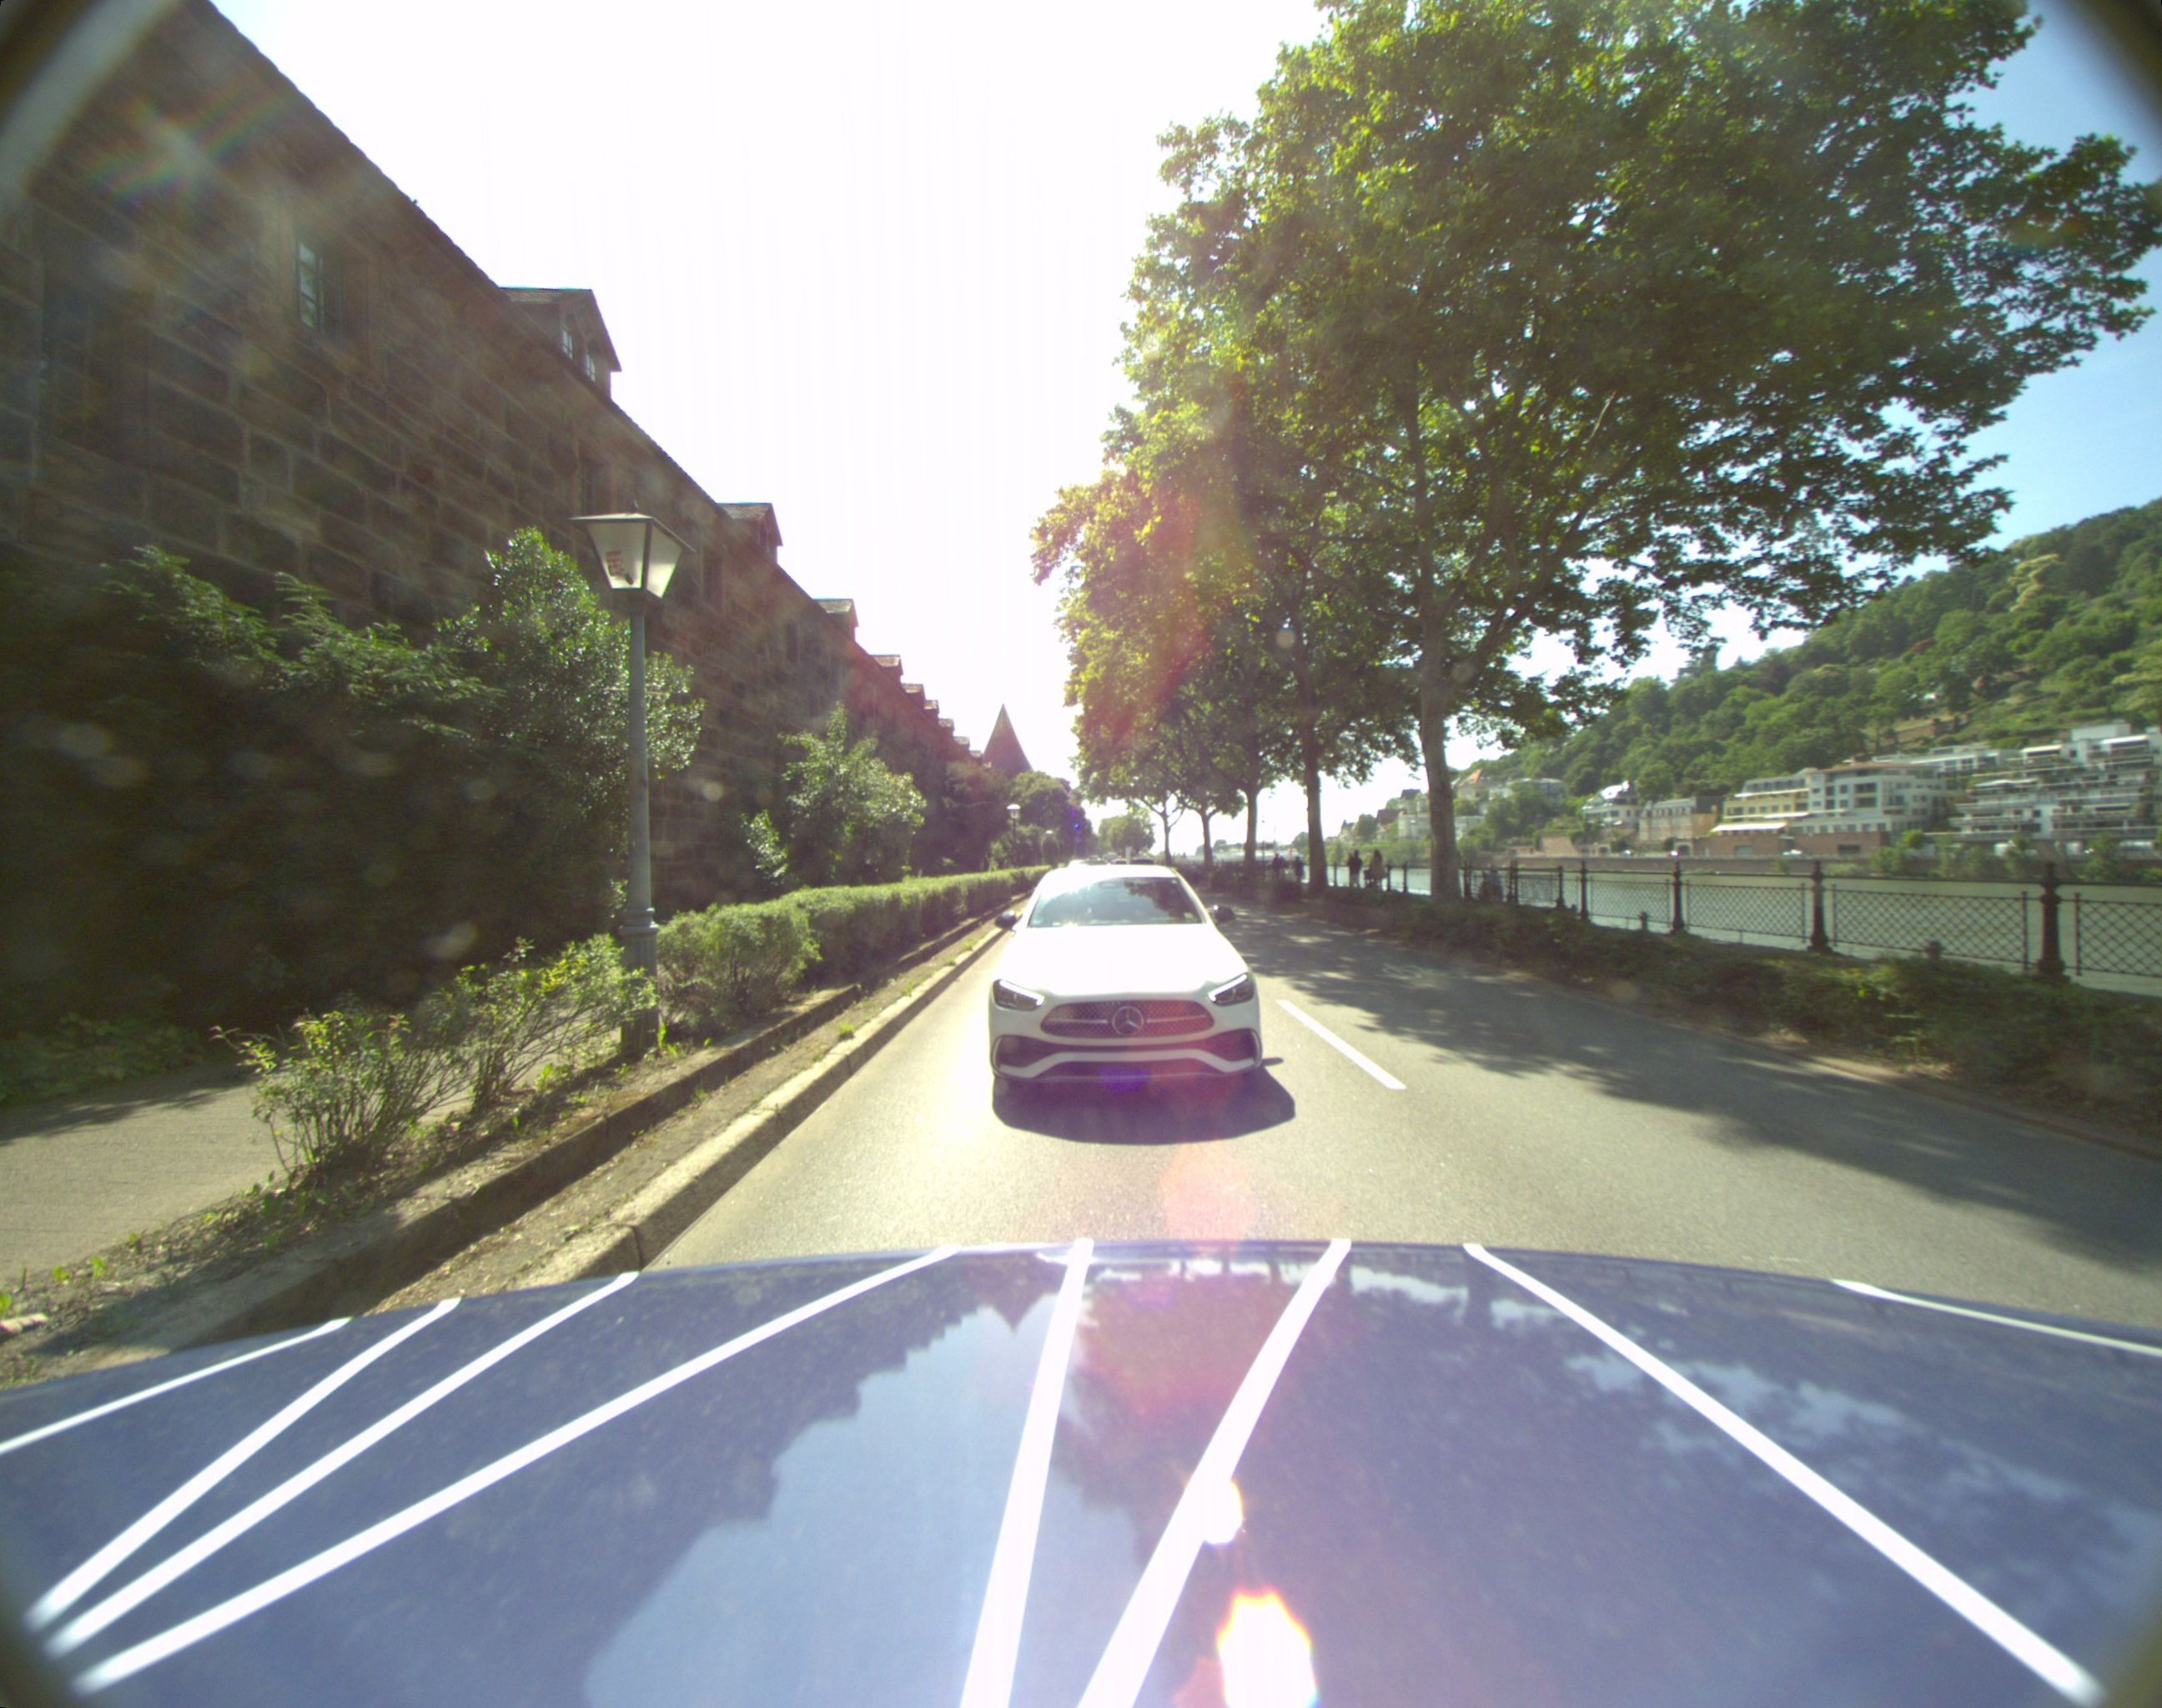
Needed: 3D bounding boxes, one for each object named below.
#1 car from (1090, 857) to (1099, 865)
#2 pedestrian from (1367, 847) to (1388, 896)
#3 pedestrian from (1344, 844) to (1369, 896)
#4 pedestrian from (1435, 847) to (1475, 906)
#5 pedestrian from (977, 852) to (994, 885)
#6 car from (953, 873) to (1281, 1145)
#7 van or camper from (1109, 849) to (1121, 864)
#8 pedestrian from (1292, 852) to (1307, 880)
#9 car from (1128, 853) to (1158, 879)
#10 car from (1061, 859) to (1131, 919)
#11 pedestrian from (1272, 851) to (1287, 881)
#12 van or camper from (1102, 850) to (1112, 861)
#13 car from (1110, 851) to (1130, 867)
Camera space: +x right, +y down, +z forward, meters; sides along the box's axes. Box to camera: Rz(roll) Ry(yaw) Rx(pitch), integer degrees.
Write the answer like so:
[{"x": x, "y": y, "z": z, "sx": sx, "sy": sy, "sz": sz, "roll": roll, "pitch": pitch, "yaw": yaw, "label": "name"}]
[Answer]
[{"x": 3.112, "y": 1.577, "z": 173.451, "sx": 1.923, "sy": 1.975, "sz": 3.999, "roll": 0, "pitch": 0, "yaw": -2, "label": "car"}, {"x": 10.789, "y": 0.627, "z": 27.665, "sx": 0.518, "sy": 1.758, "sz": 0.592, "roll": 1, "pitch": 0, "yaw": 1, "label": "pedestrian"}, {"x": 10.130, "y": 0.586, "z": 27.949, "sx": 0.642, "sy": 1.859, "sz": 0.806, "roll": 1, "pitch": 0, "yaw": 1, "label": "pedestrian"}, {"x": 11.175, "y": 0.656, "z": 22.750, "sx": 0.695, "sy": 1.707, "sz": 0.874, "roll": -3, "pitch": 1, "yaw": -1, "label": "pedestrian"}, {"x": -4.815, "y": 0.717, "z": 38.371, "sx": 0.700, "sy": 1.643, "sz": 0.705, "roll": 1, "pitch": 0, "yaw": 3, "label": "pedestrian"}, {"x": 0.232, "y": 0.941, "z": 6.511, "sx": 1.829, "sy": 1.418, "sz": 4.359, "roll": -2, "pitch": 0, "yaw": 1, "label": "car"}, {"x": 5.715, "y": 0.433, "z": 128.262, "sx": 1.965, "sy": 2.552, "sz": 5.841, "roll": 1, "pitch": 0, "yaw": 1, "label": "van or camper"}, {"x": 12.554, "y": 0.677, "z": 43.647, "sx": 0.705, "sy": 1.594, "sz": 0.705, "roll": -1, "pitch": 1, "yaw": 3, "label": "pedestrian"}, {"x": 4.097, "y": 0.785, "z": 50.846, "sx": 1.768, "sy": 1.638, "sz": 4.090, "roll": 1, "pitch": 0, "yaw": 1, "label": "car"}, {"x": 0.432, "y": 0.930, "z": 22.004, "sx": 1.854, "sy": 1.543, "sz": 3.849, "roll": 1, "pitch": 0, "yaw": 1, "label": "car"}, {"x": 11.796, "y": 0.703, "z": 45.177, "sx": 0.705, "sy": 1.721, "sz": 0.705, "roll": -1, "pitch": 1, "yaw": 3, "label": "pedestrian"}, {"x": 6.375, "y": 0.389, "z": 185.238, "sx": 2.328, "sy": 2.646, "sz": 6.264, "roll": 1, "pitch": 0, "yaw": 1, "label": "van or camper"}, {"x": 4.249, "y": 0.574, "z": 83.664, "sx": 1.881, "sy": 1.688, "sz": 4.258, "roll": 1, "pitch": 0, "yaw": 0, "label": "car"}]
